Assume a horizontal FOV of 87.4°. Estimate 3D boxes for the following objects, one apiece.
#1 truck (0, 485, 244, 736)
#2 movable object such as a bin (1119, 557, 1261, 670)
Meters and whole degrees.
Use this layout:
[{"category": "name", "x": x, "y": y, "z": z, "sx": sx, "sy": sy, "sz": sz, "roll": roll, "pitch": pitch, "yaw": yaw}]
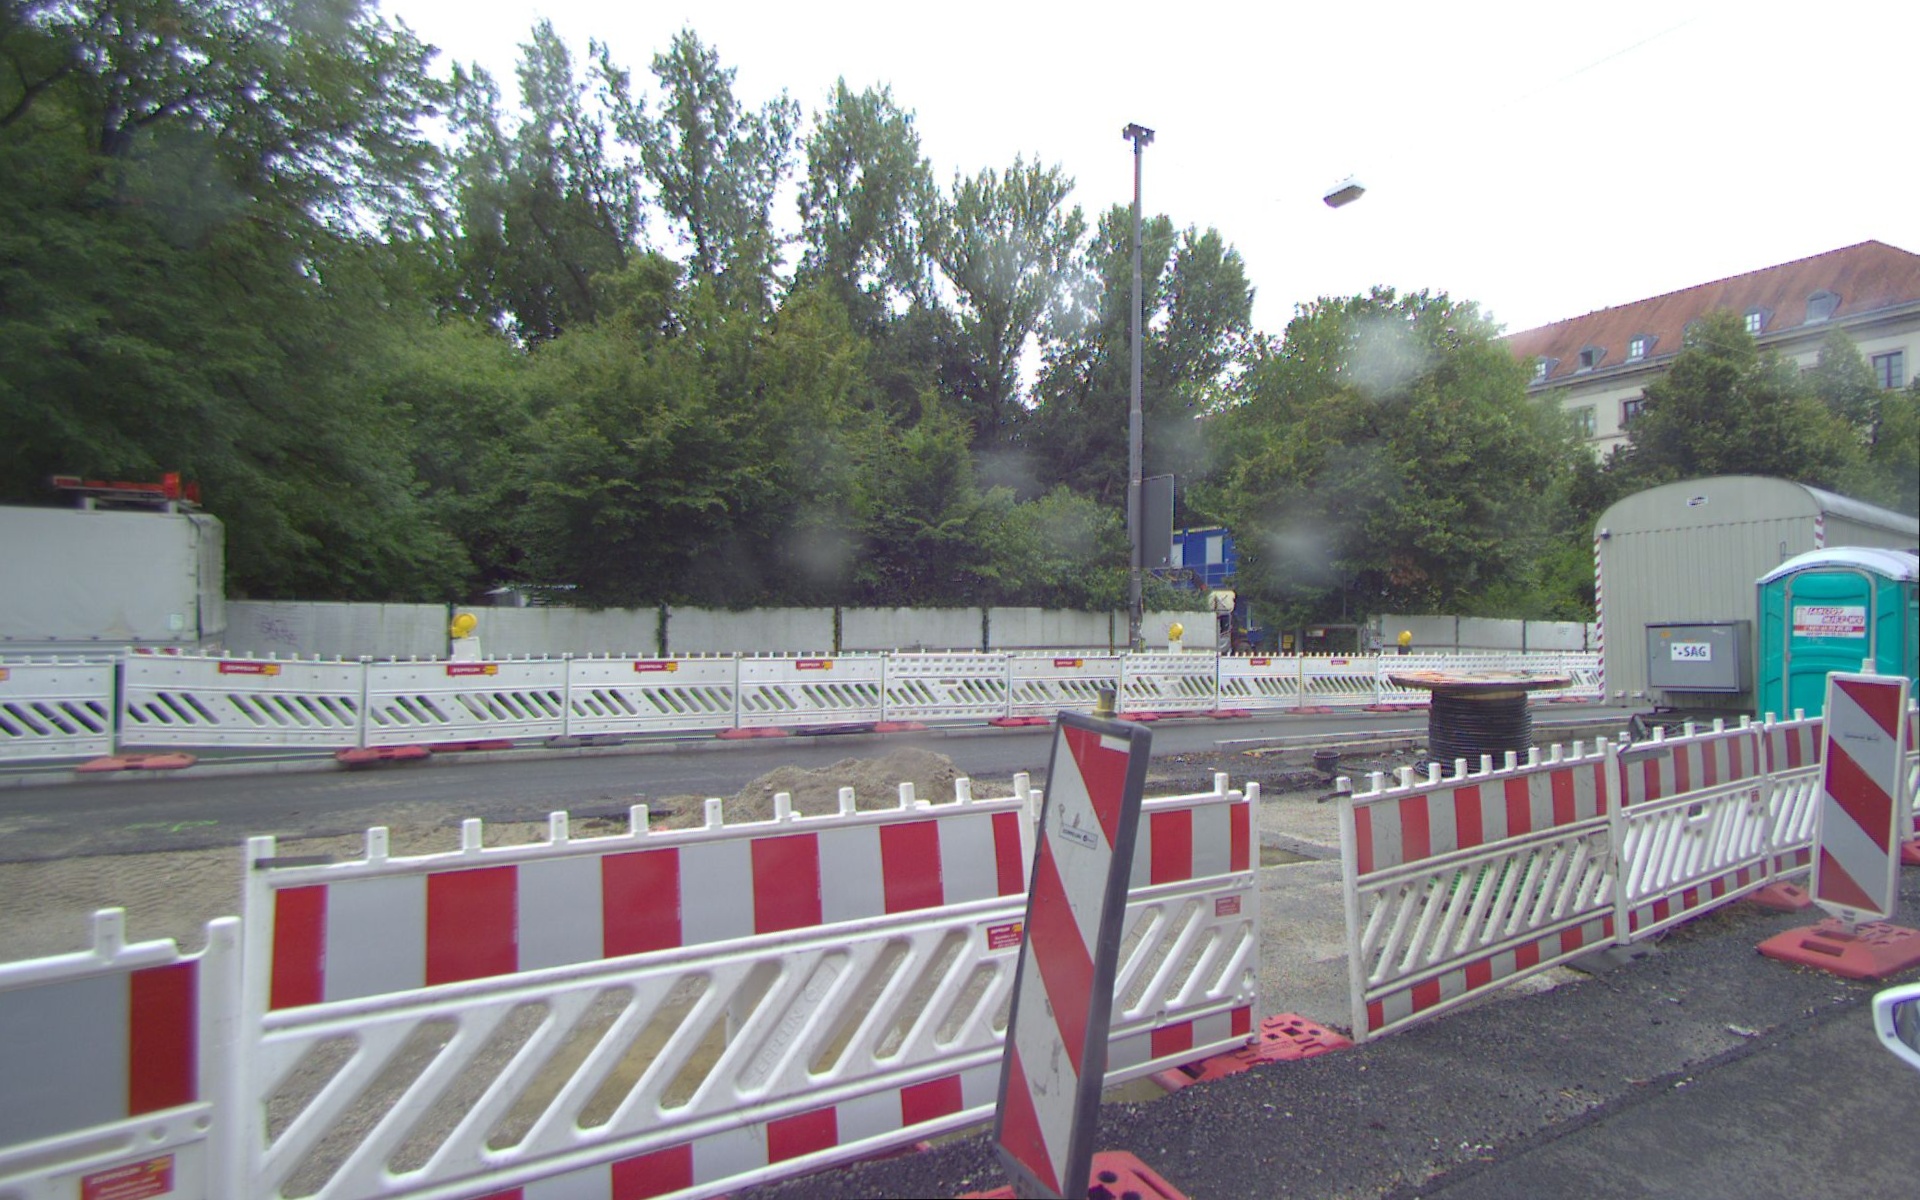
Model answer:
[{"category": "truck", "x": -12.510, "y": 0.122, "z": 11.981, "sx": 6.132, "sy": 2.887, "sz": 2.114, "roll": 1, "pitch": -2, "yaw": -28}, {"category": "movable object such as a bin", "x": 8.755, "y": 0.565, "z": 38.088, "sx": 5.009, "sy": 4.014, "sz": 2.453, "roll": 1, "pitch": -2, "yaw": -32}]
